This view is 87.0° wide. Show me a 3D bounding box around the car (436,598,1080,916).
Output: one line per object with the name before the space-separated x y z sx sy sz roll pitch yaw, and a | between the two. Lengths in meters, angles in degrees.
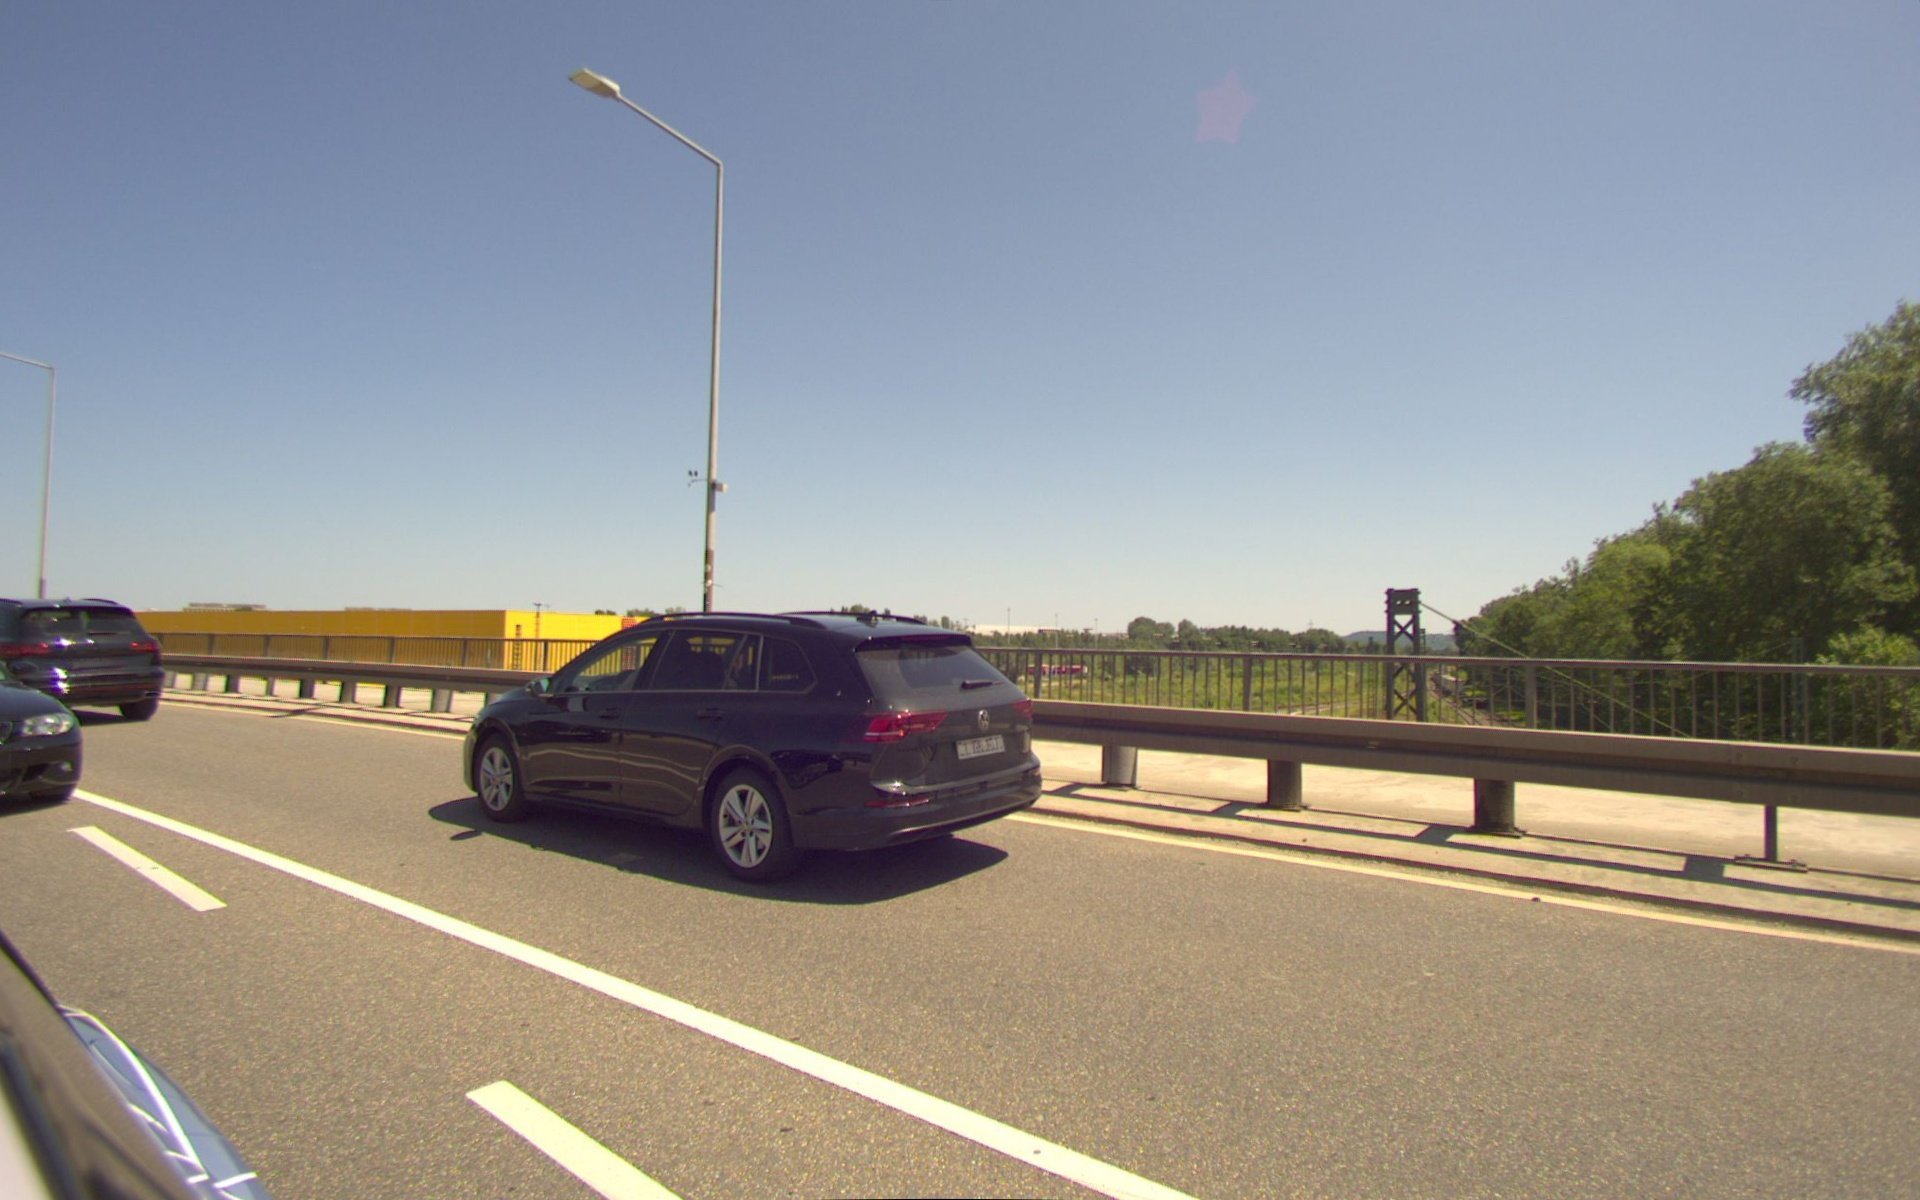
car | -1.556 0.773 6.752 4.452 1.480 1.694 -1 -1 37

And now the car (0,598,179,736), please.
car | -13.143 0.853 14.313 4.600 1.686 1.950 -1 -1 34

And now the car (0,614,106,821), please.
car | -8.809 0.853 8.232 4.513 1.466 1.774 -1 -1 35
